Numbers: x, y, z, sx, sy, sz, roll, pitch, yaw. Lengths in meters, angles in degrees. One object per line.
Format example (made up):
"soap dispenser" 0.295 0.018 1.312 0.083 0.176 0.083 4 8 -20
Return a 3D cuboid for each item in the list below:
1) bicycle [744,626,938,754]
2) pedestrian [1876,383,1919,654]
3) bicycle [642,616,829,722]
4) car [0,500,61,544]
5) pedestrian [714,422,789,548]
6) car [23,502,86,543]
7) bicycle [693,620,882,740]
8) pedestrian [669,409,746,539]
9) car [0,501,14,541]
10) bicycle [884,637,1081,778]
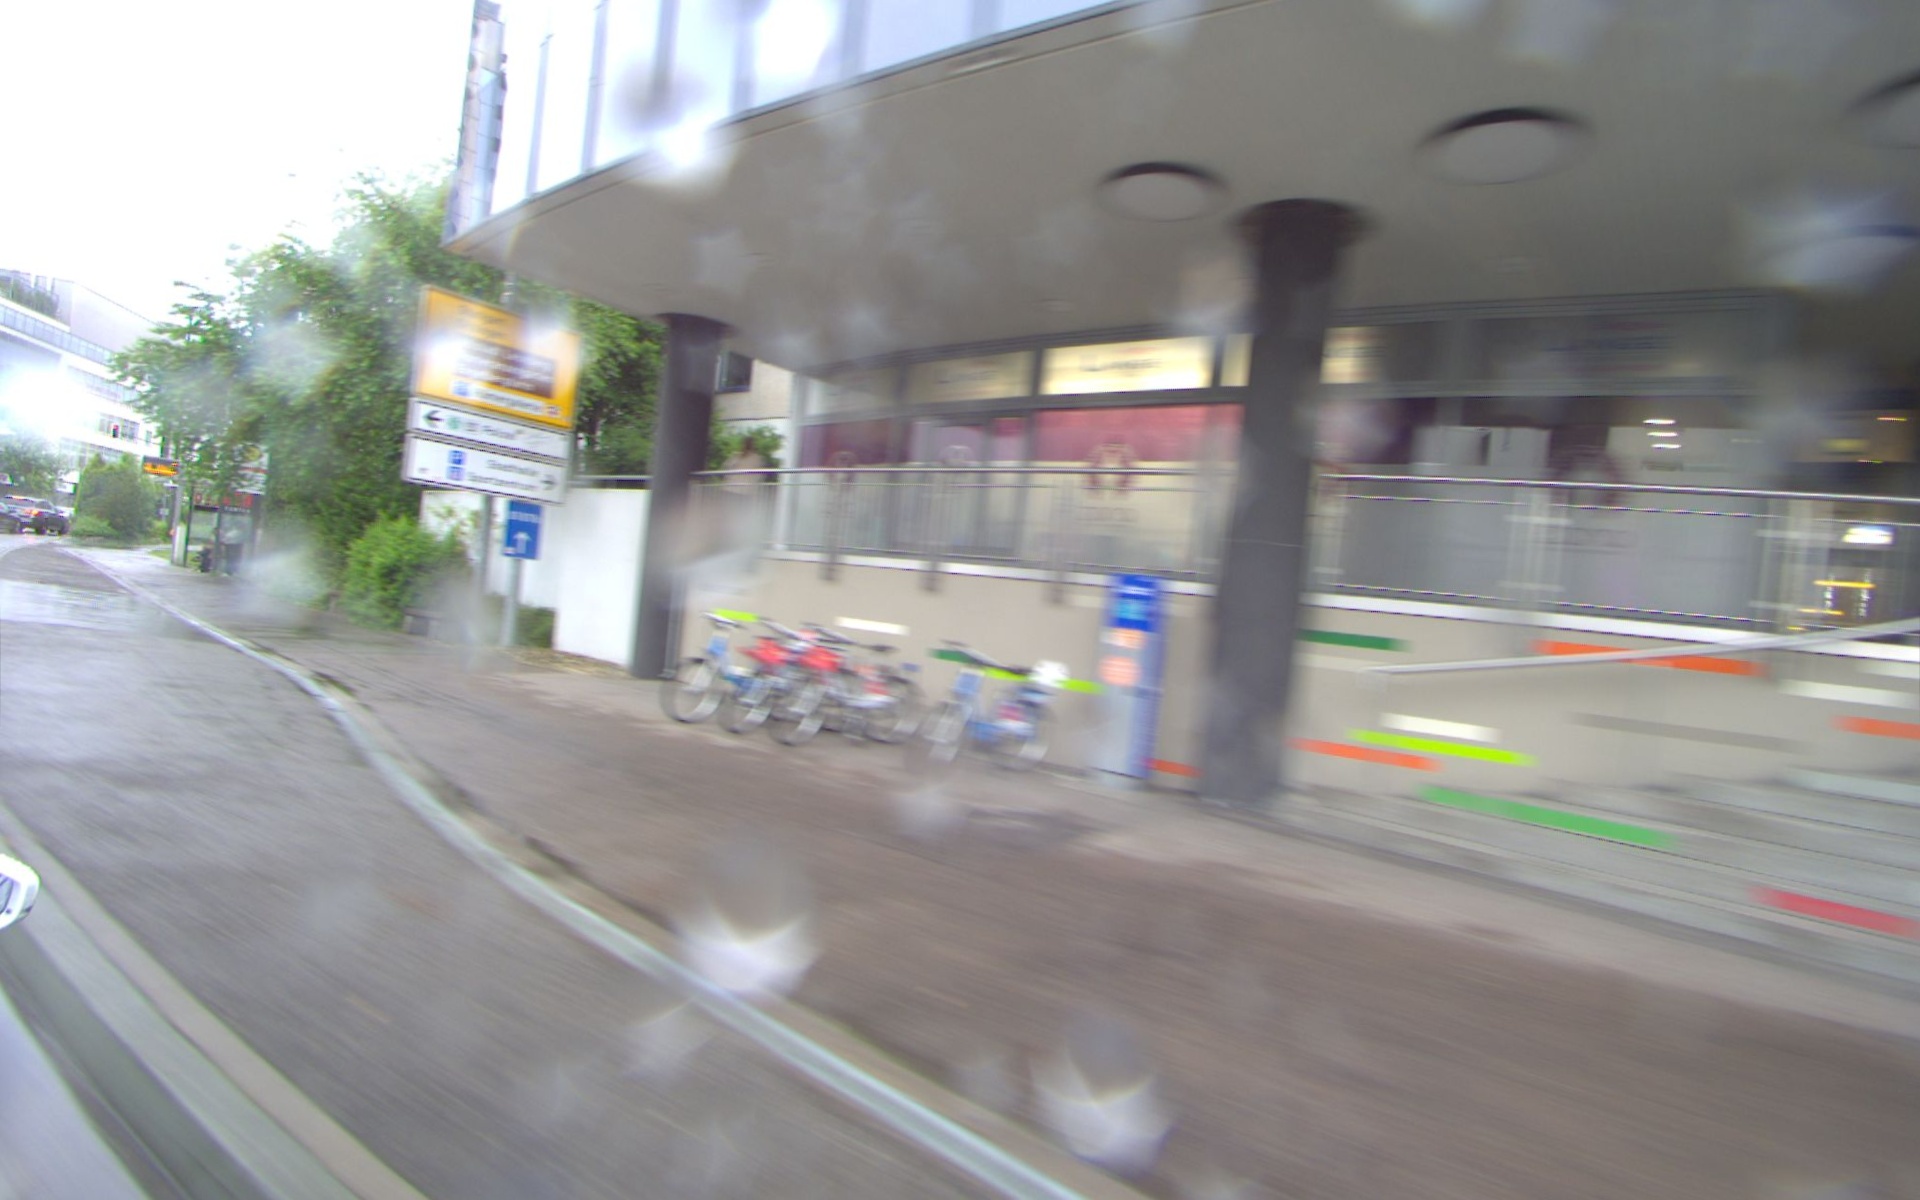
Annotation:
"bicycle" -1.079 0.833 9.520 0.638 1.055 1.846 5 0 39
"pedestrian" 7.413 -0.627 7.237 0.818 2.037 0.951 7 -1 29
"bicycle" -2.258 0.712 10.337 0.529 0.963 1.845 7 1 42
"car" -44.419 -3.689 47.758 1.899 1.745 3.775 8 -2 -34
"pedestrian" -3.101 -1.702 14.969 0.592 1.733 0.651 7 -1 44
"car" -48.211 -4.100 53.656 1.818 1.791 3.821 8 -2 -34
"bicycle" -1.663 0.787 9.992 0.620 1.046 1.846 5 0 39
"pedestrian" -3.639 -1.798 14.519 0.592 1.733 0.651 7 -1 44
"car" -41.251 -3.435 41.928 1.875 1.691 3.964 8 -2 -34
"bicycle" 0.241 0.900 8.620 0.623 1.035 1.847 5 -1 39
